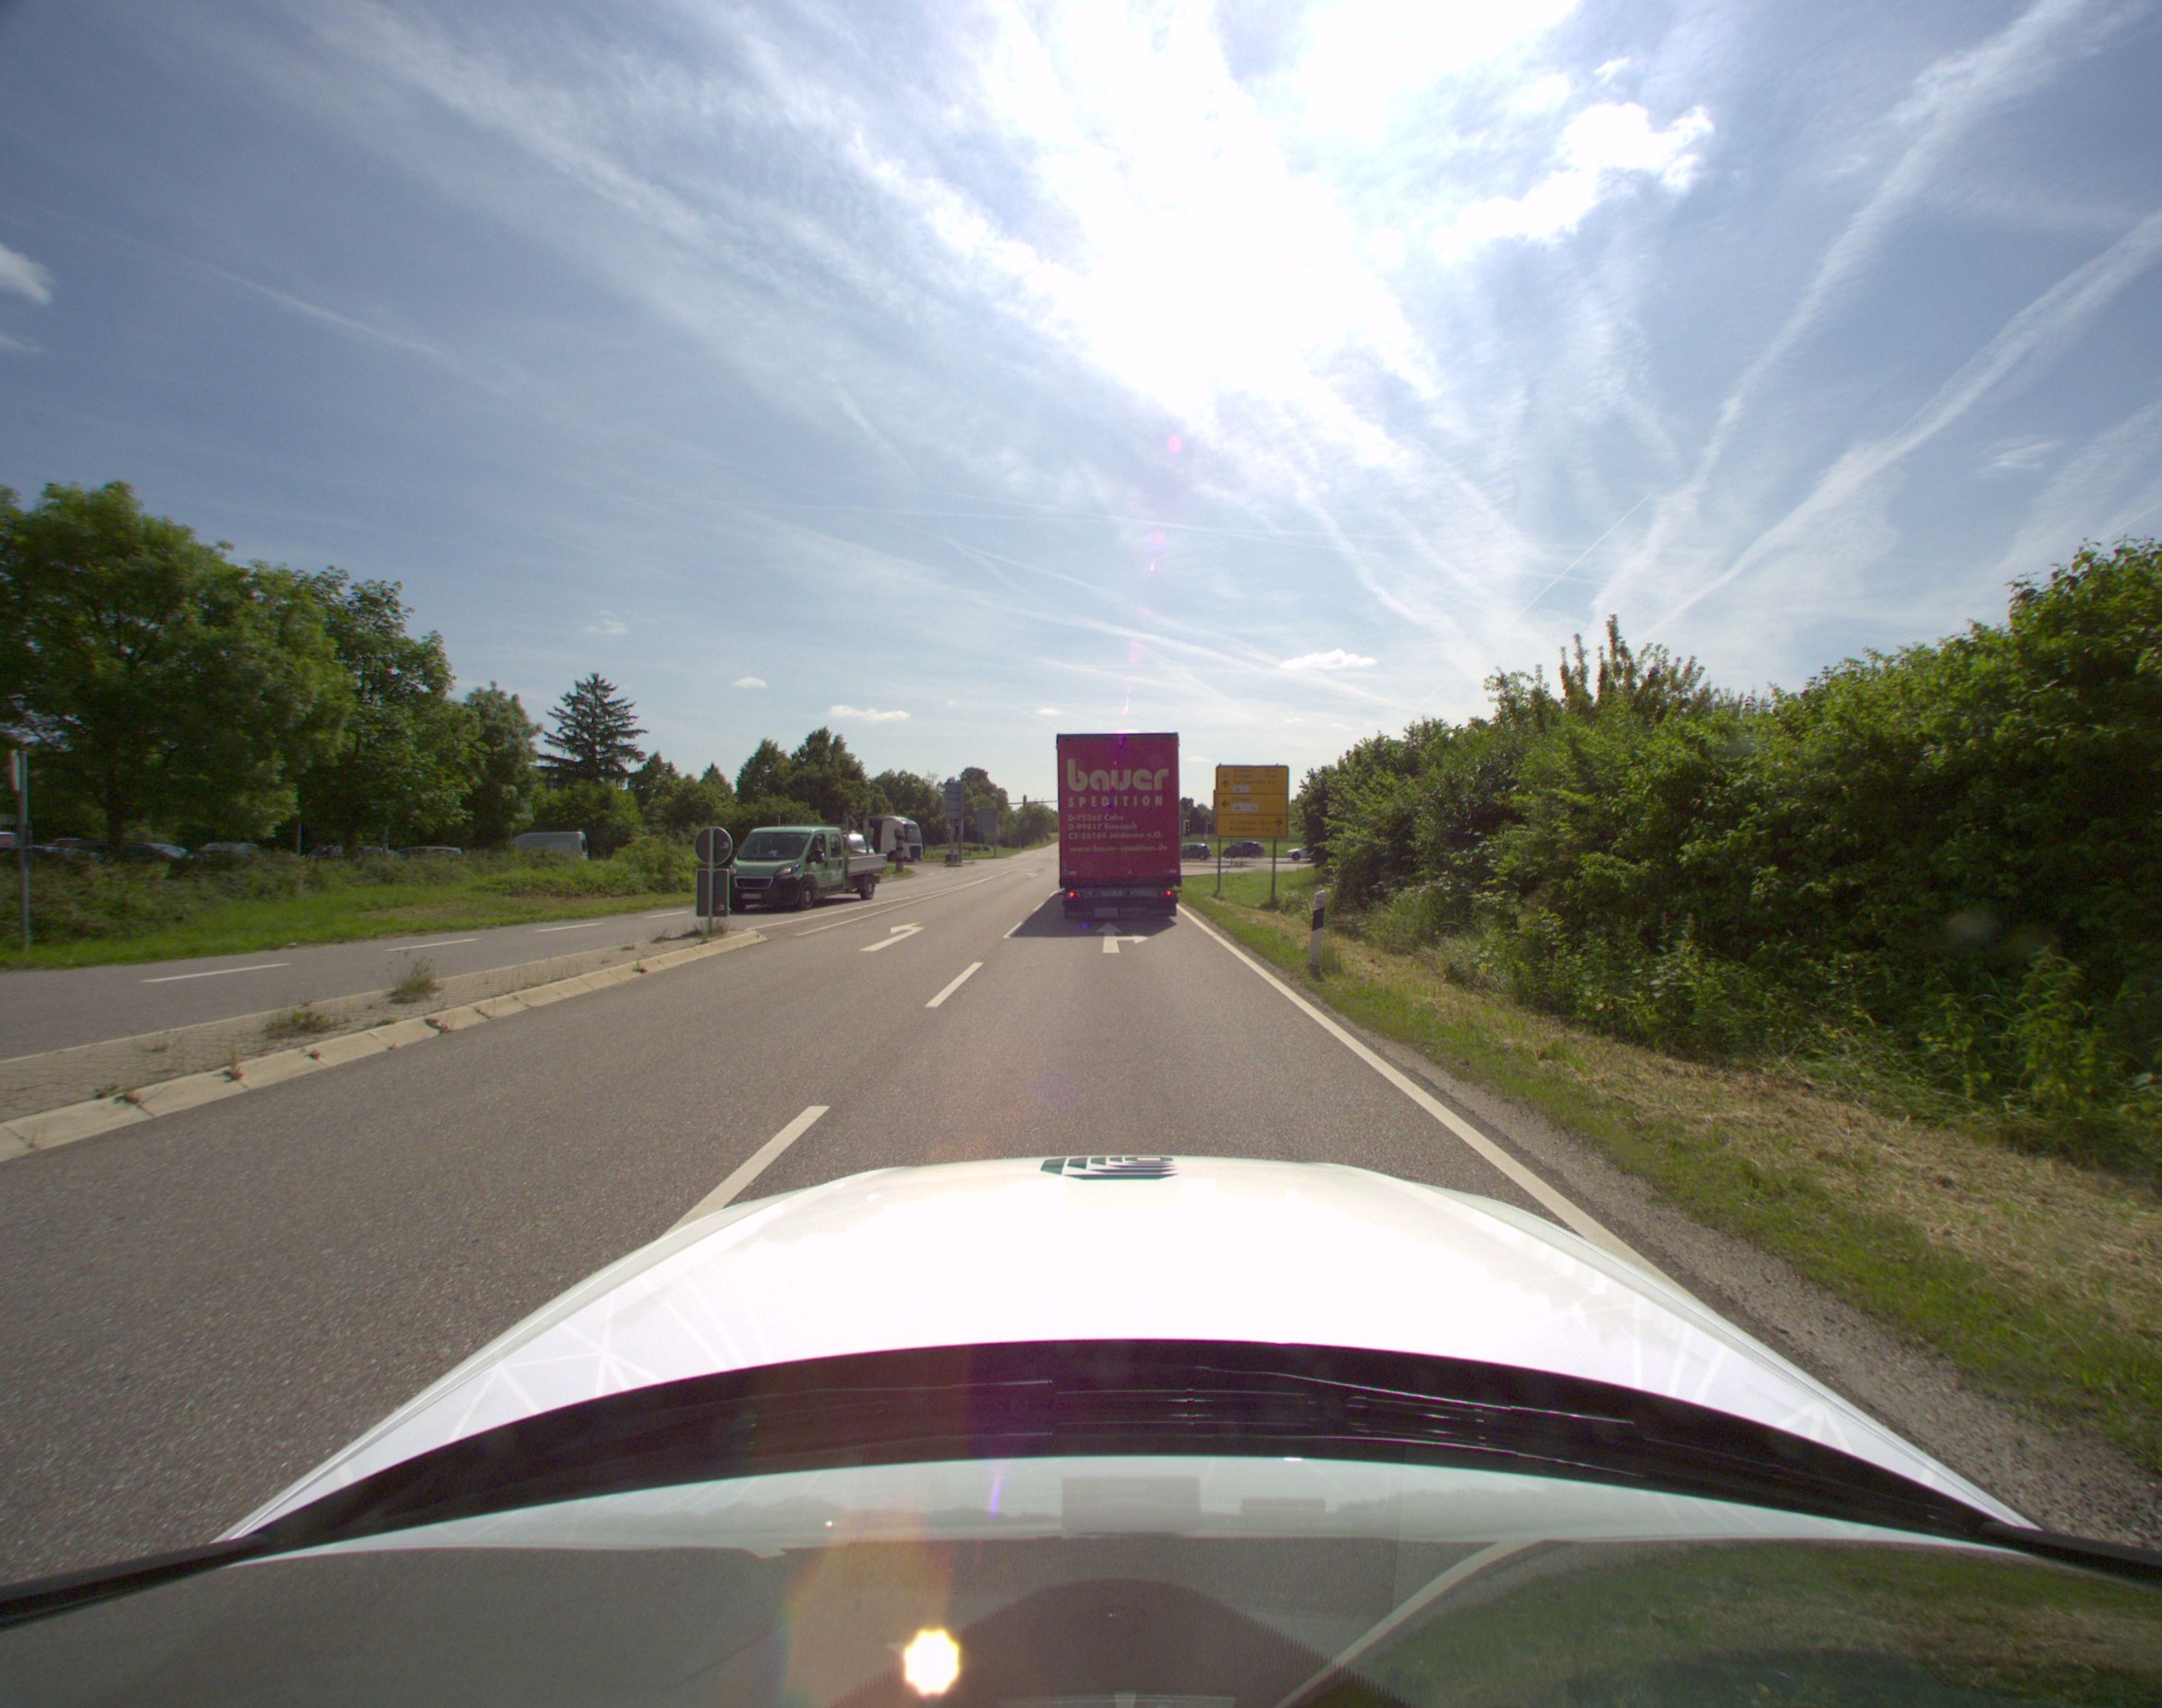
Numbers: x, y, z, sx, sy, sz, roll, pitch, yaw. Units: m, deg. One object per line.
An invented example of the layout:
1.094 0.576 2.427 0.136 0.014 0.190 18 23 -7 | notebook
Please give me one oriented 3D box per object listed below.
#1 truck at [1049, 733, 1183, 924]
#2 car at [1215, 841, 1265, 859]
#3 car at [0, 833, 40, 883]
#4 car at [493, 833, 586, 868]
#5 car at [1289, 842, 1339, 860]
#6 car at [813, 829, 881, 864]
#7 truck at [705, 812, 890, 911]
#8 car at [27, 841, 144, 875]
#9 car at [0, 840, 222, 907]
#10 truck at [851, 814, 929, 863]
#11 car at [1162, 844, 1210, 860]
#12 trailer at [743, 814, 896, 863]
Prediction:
0.886 -0.636 25.121 2.725 3.925 16.629 0 1 1 | truck
14.988 -0.357 76.912 4.232 1.656 1.710 0 -1 33 | car
-38.704 0.138 27.187 4.435 1.695 1.984 0 0 -25 | car
-34.753 -0.233 52.399 4.600 2.180 1.986 0 0 -22 | car
20.083 -0.222 70.119 4.068 1.547 1.881 0 0 16 | car
-18.236 -0.574 63.410 5.909 2.654 2.138 0 0 40 | car
-7.631 0.165 22.931 2.229 2.375 6.365 0 0 8 | truck
-49.989 0.192 41.022 1.913 1.640 3.973 0 0 -20 | car
-25.596 0.493 21.273 3.997 1.657 1.684 0 -1 -17 | car
-16.232 -1.300 69.443 5.781 4.060 2.811 0 1 16 | truck
9.420 -0.185 72.878 3.958 1.429 2.008 0 0 14 | car
-23.023 -1.367 71.619 13.576 4.060 2.811 0 1 17 | trailer
